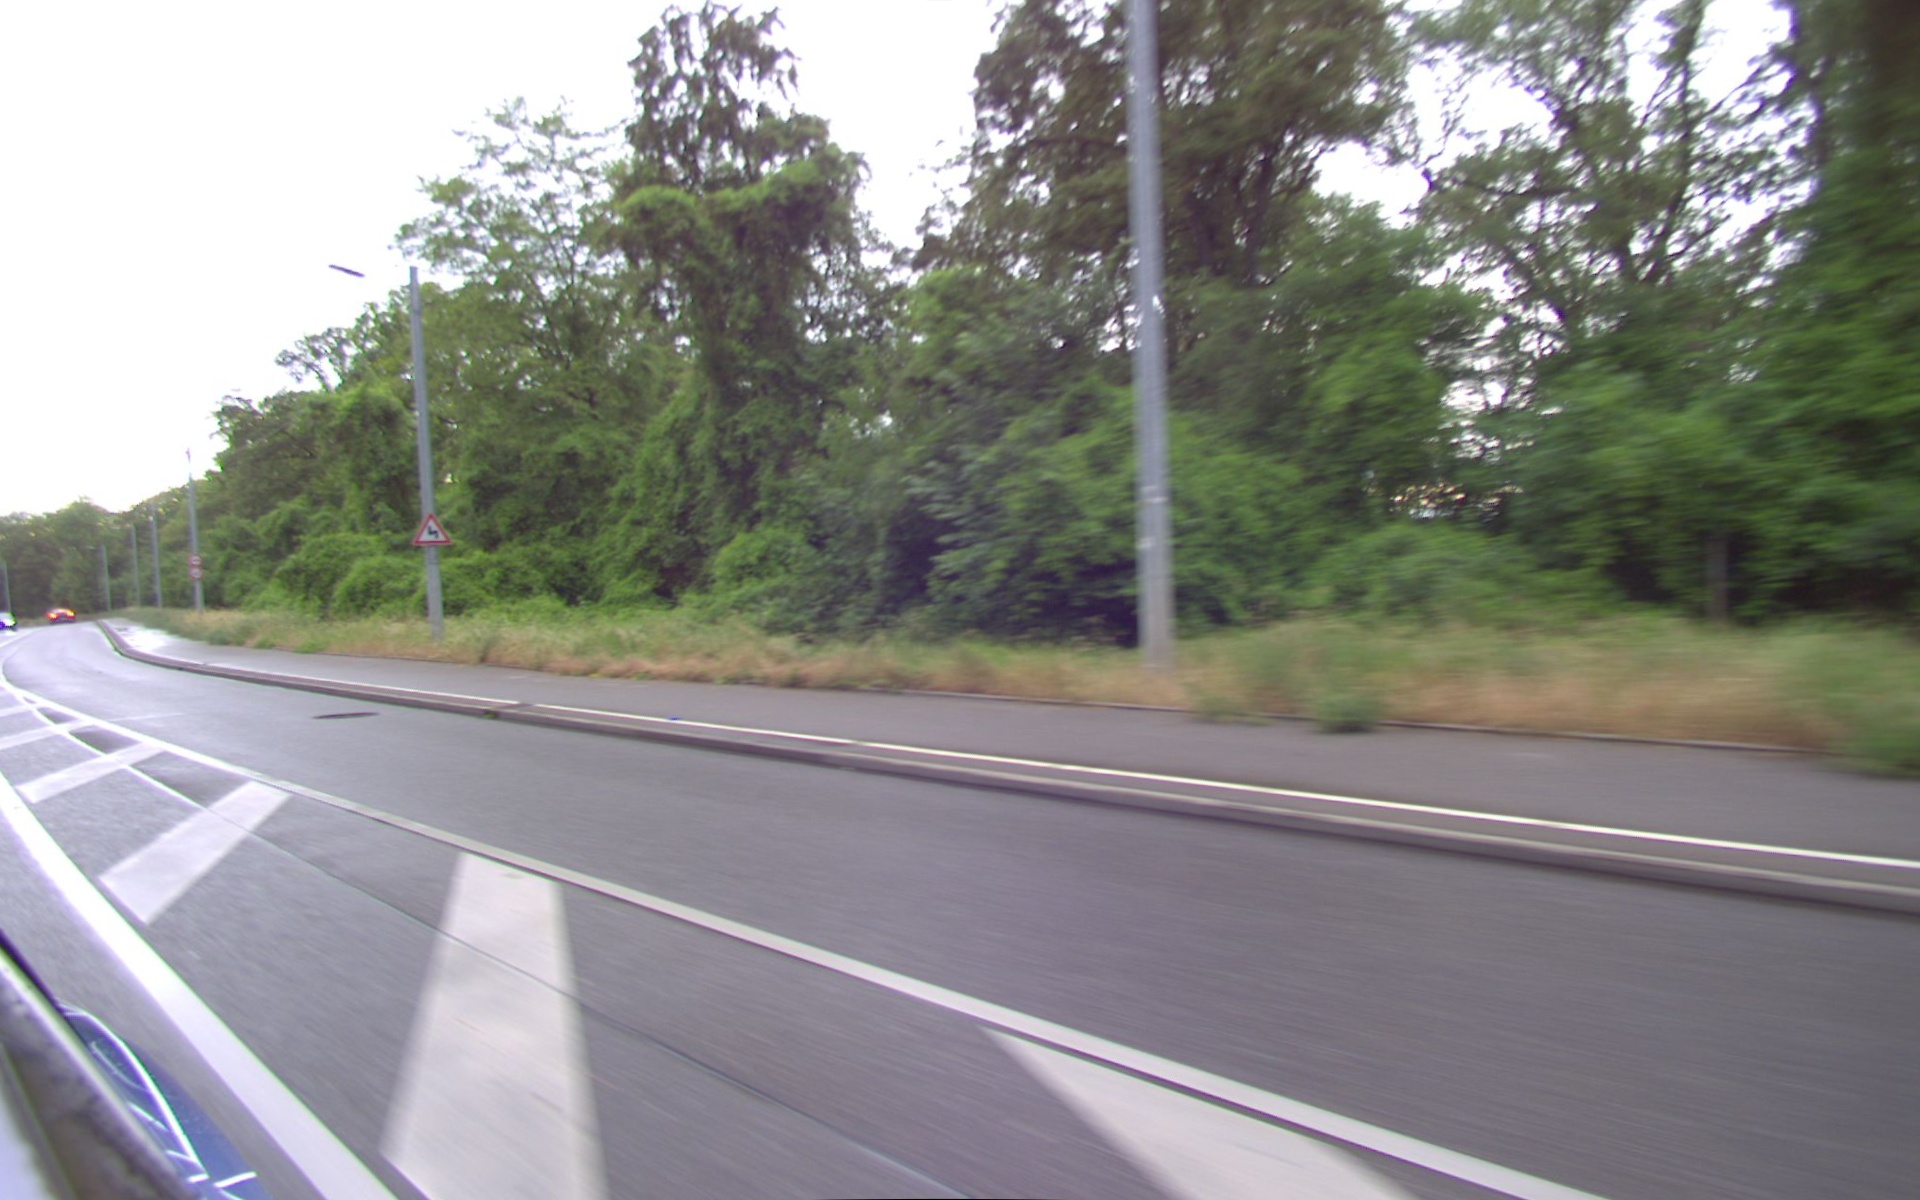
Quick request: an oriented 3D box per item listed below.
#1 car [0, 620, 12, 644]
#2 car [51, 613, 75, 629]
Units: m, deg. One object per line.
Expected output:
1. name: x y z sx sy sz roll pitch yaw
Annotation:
1. car: -73.056 2.433 76.393 1.969 1.696 4.006 -1 0 -40
2. car: -100.286 2.298 113.140 1.970 1.696 4.005 -1 0 -42
